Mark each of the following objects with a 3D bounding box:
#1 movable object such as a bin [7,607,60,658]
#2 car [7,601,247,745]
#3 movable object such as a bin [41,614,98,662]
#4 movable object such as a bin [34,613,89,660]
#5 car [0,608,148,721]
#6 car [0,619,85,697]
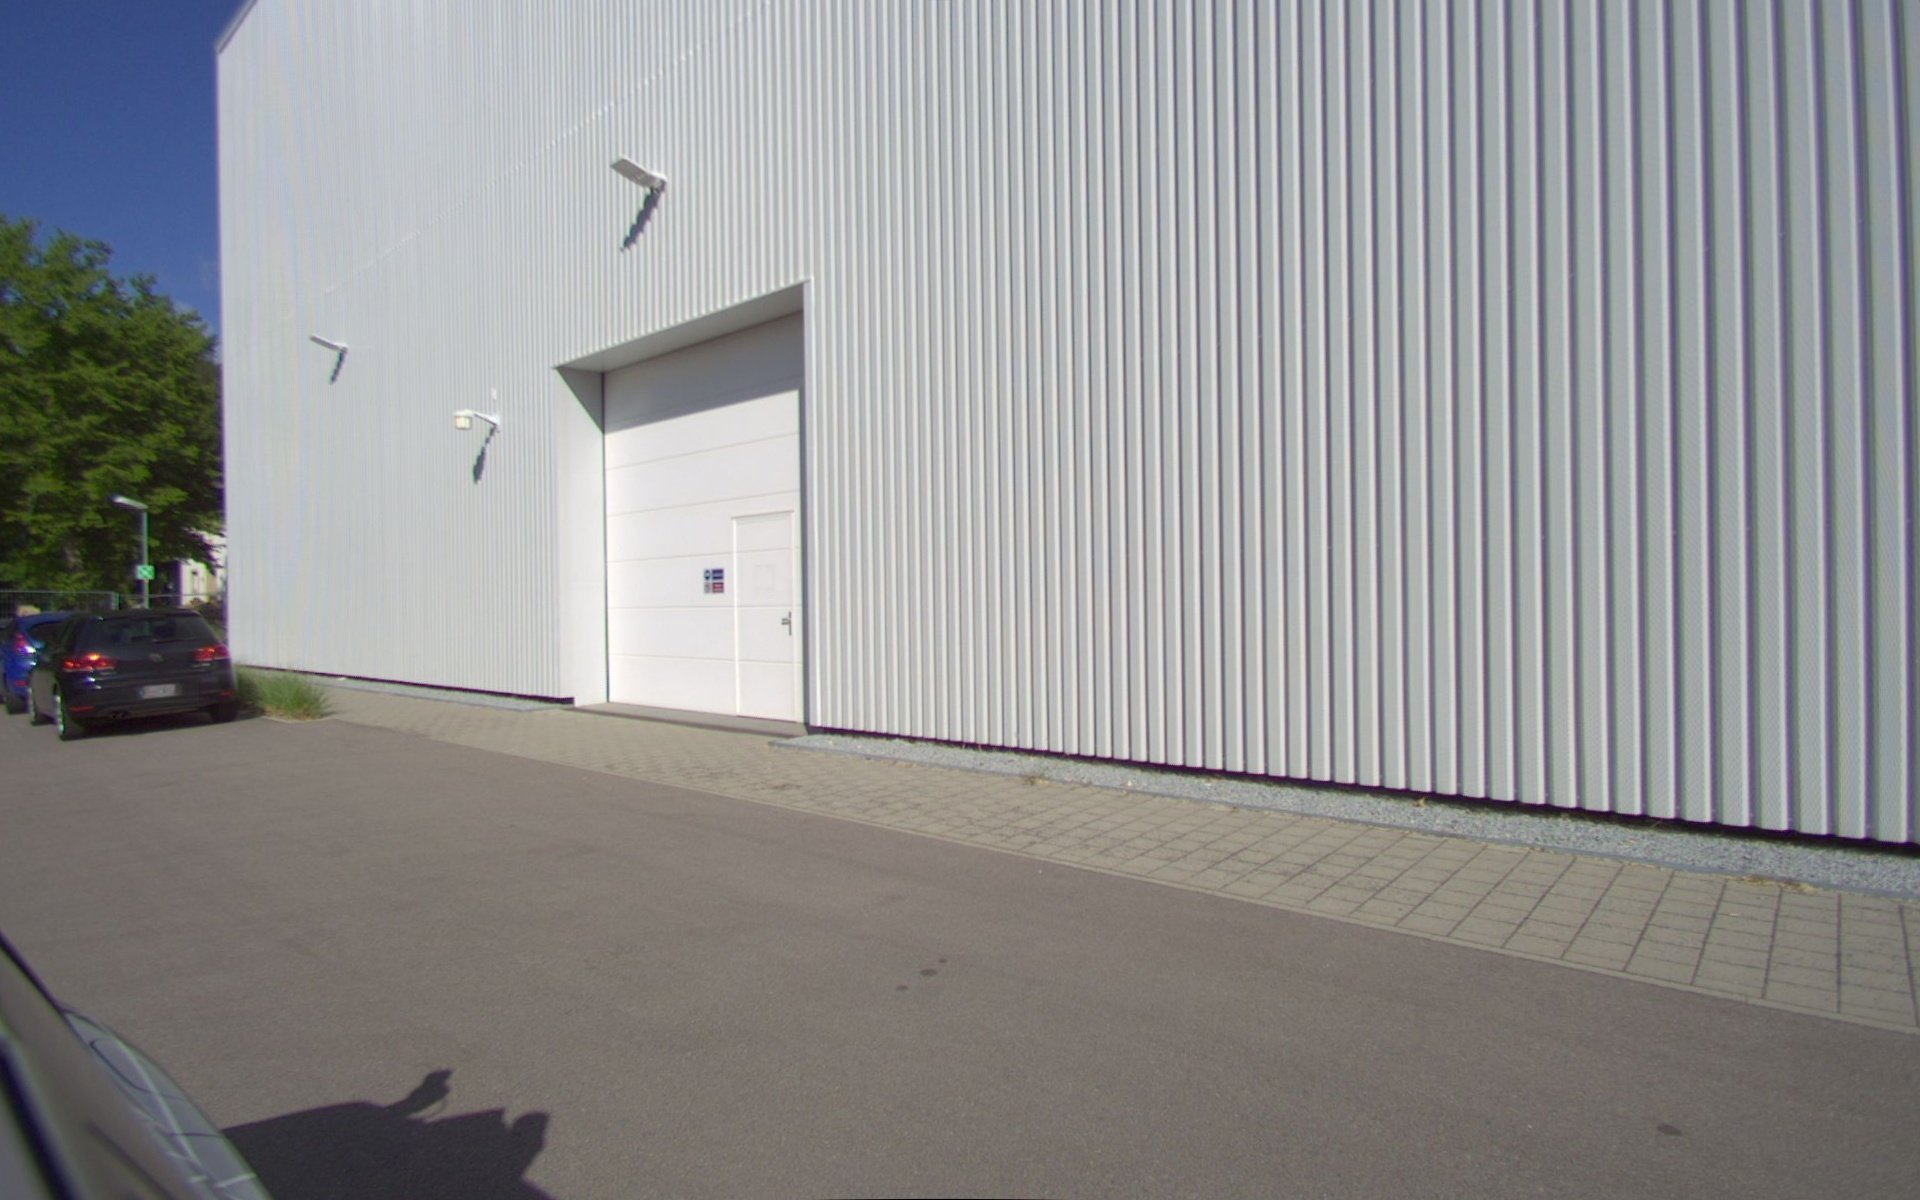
[{"bbox_3d":[-31.200,1.070,34.080,1.228,1.609,1.080,1,1,36],"label":"movable object such as a bin"},{"bbox_3d":[-10.900,0.831,13.137,4.292,1.511,1.736,-1,1,42],"label":"car"},{"bbox_3d":[-28.444,1.202,32.331,1.228,1.443,1.080,0,2,36],"label":"movable object such as a bin"},{"bbox_3d":[-29.470,1.186,33.182,1.228,1.450,1.080,0,2,36],"label":"movable object such as a bin"},{"bbox_3d":[-14.631,0.951,16.302,4.092,1.511,1.614,-1,2,40],"label":"car"},{"bbox_3d":[-18.738,1.088,19.873,4.051,1.371,1.756,-1,0,41],"label":"car"}]
